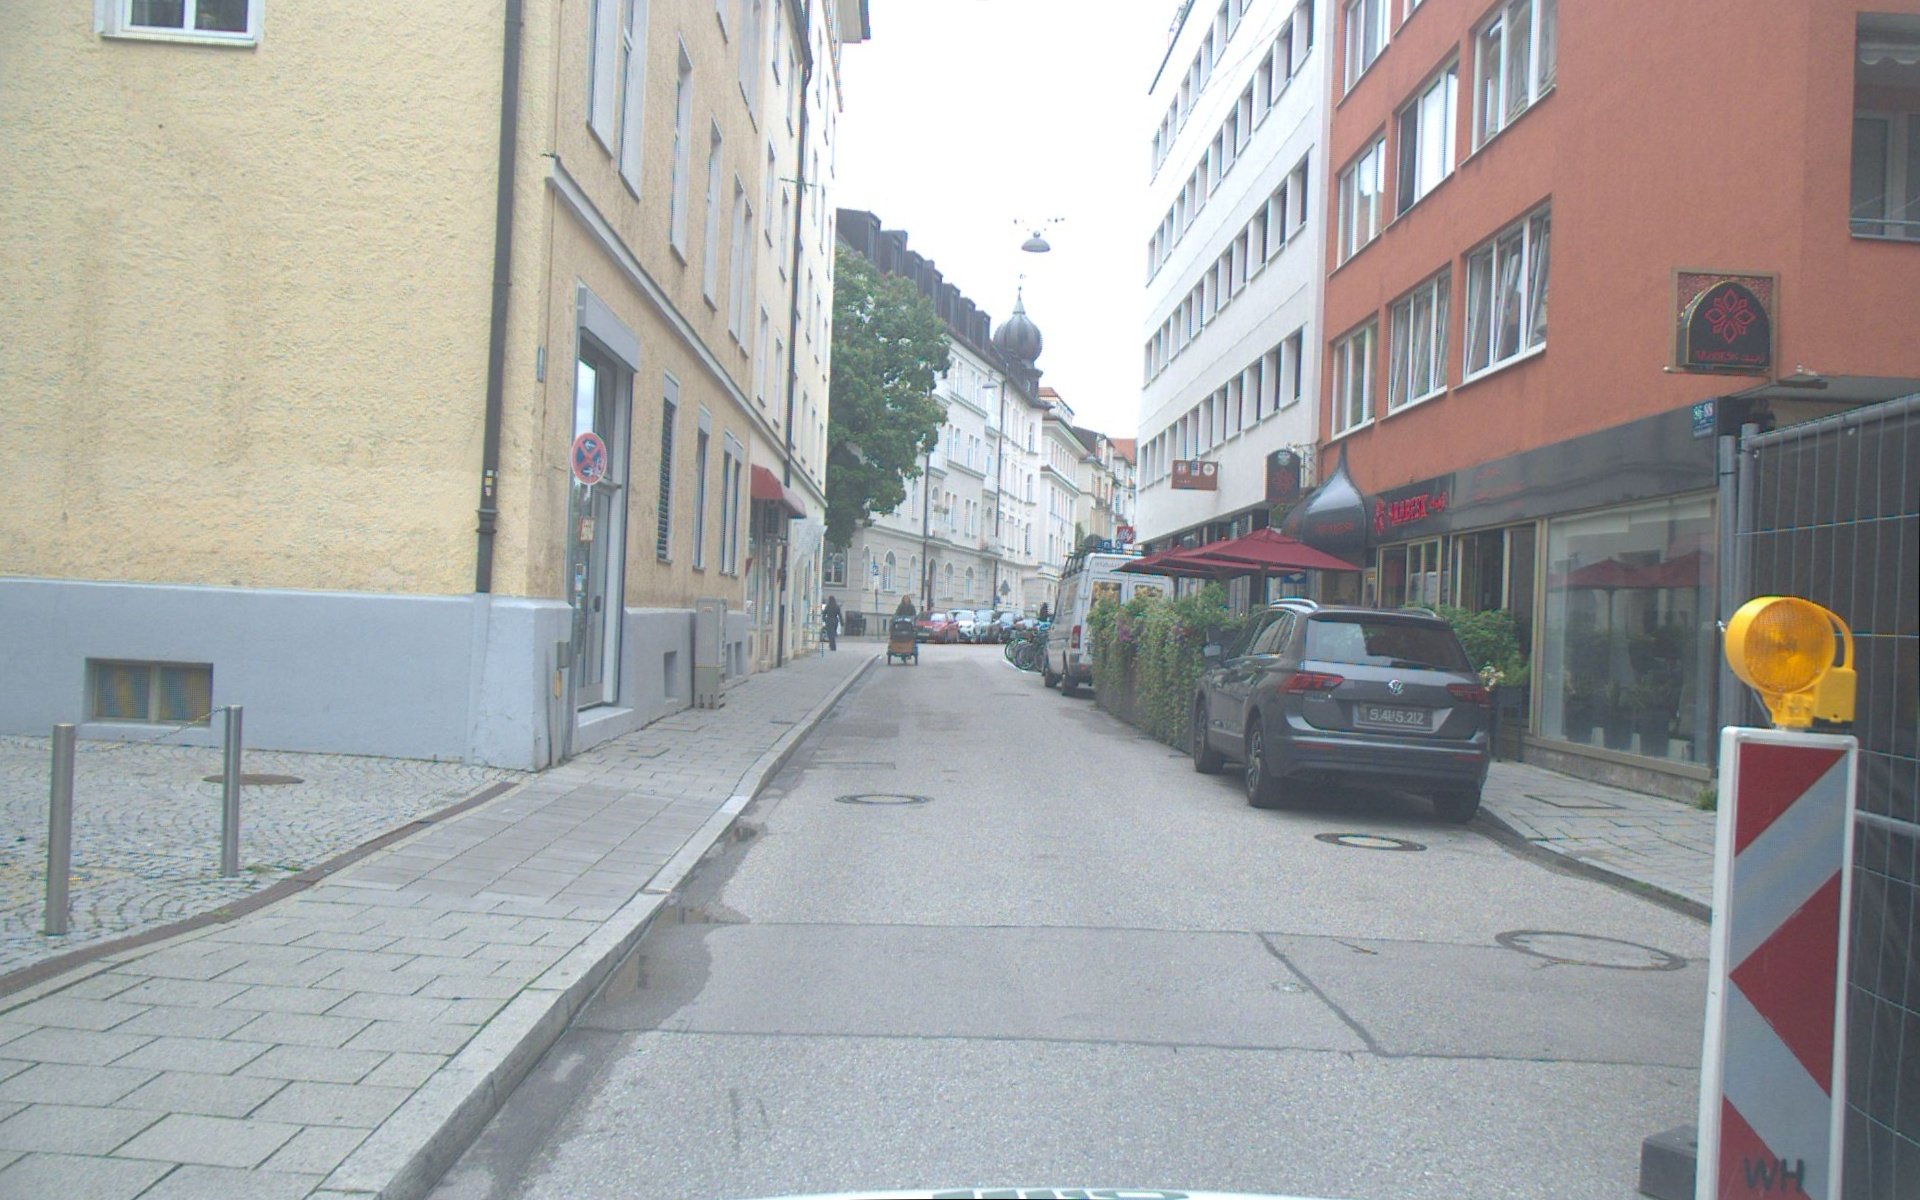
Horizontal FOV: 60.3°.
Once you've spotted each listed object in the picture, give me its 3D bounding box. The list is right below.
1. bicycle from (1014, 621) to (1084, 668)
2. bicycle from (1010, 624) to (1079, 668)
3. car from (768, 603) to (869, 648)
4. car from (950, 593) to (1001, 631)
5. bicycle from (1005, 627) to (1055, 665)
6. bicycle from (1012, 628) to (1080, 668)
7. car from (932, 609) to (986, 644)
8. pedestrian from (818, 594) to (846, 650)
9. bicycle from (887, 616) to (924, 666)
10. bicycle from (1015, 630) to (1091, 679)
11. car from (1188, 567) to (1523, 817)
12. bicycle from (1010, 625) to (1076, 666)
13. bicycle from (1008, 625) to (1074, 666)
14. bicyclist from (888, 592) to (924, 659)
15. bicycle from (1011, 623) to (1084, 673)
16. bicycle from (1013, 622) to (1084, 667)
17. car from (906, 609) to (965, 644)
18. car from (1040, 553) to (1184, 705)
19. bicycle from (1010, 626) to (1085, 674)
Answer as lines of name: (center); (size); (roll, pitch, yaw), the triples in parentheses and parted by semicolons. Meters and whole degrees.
bicycle: (2.423, 1.213, 45.135); (1.836, 1.225, 0.579); (2, -1, -4)
bicycle: (2.368, 1.288, 46.304); (1.837, 1.114, 0.439); (3, 0, -5)
car: (-5.396, 0.976, 62.907); (3.688, 1.605, 1.996); (1, -1, -8)
car: (0.782, 0.617, 81.544); (1.901, 1.732, 4.003); (3, -1, 9)
bicycle: (2.147, 1.397, 50.611); (1.424, 1.088, 0.462); (3, -1, -9)
bicycle: (2.444, 1.370, 47.008); (1.837, 1.070, 0.563); (2, -2, -5)
car: (-0.021, 1.220, 76.407); (1.951, 1.499, 4.221); (3, -1, 7)
pedestrian: (-3.882, 0.654, 50.110); (0.680, 1.661, 0.661); (3, -1, -12)
bicycle: (-1.456, 1.103, 44.347); (0.913, 1.279, 2.413); (1, -1, -1)
bicycle: (2.384, 1.393, 42.391); (1.837, 1.098, 0.488); (5, 0, -4)
car: (3.229, 0.702, 14.425); (1.787, 1.740, 4.388); (3, -1, 0)
bicycle: (2.393, 1.318, 47.705); (1.837, 1.098, 0.402); (3, 0, -5)
bicycle: (2.347, 1.331, 48.143); (1.837, 1.098, 0.408); (3, 0, -5)
bicyclist: (-1.452, 0.685, 44.733); (0.907, 1.751, 1.099); (1, -1, -1)
bicycle: (2.300, 1.256, 43.717); (1.836, 1.225, 0.488); (3, 0, -4)
bicycle: (2.444, 1.224, 45.736); (1.856, 1.190, 0.565); (2, -1, -4)
car: (-1.036, 1.138, 71.548); (1.694, 1.402, 4.230); (2, -1, 10)
car: (2.798, 0.525, 31.934); (1.882, 2.549, 5.994); (4, 0, -2)
bicycle: (2.282, 1.306, 43.196); (1.837, 1.127, 0.488); (4, 0, -4)
